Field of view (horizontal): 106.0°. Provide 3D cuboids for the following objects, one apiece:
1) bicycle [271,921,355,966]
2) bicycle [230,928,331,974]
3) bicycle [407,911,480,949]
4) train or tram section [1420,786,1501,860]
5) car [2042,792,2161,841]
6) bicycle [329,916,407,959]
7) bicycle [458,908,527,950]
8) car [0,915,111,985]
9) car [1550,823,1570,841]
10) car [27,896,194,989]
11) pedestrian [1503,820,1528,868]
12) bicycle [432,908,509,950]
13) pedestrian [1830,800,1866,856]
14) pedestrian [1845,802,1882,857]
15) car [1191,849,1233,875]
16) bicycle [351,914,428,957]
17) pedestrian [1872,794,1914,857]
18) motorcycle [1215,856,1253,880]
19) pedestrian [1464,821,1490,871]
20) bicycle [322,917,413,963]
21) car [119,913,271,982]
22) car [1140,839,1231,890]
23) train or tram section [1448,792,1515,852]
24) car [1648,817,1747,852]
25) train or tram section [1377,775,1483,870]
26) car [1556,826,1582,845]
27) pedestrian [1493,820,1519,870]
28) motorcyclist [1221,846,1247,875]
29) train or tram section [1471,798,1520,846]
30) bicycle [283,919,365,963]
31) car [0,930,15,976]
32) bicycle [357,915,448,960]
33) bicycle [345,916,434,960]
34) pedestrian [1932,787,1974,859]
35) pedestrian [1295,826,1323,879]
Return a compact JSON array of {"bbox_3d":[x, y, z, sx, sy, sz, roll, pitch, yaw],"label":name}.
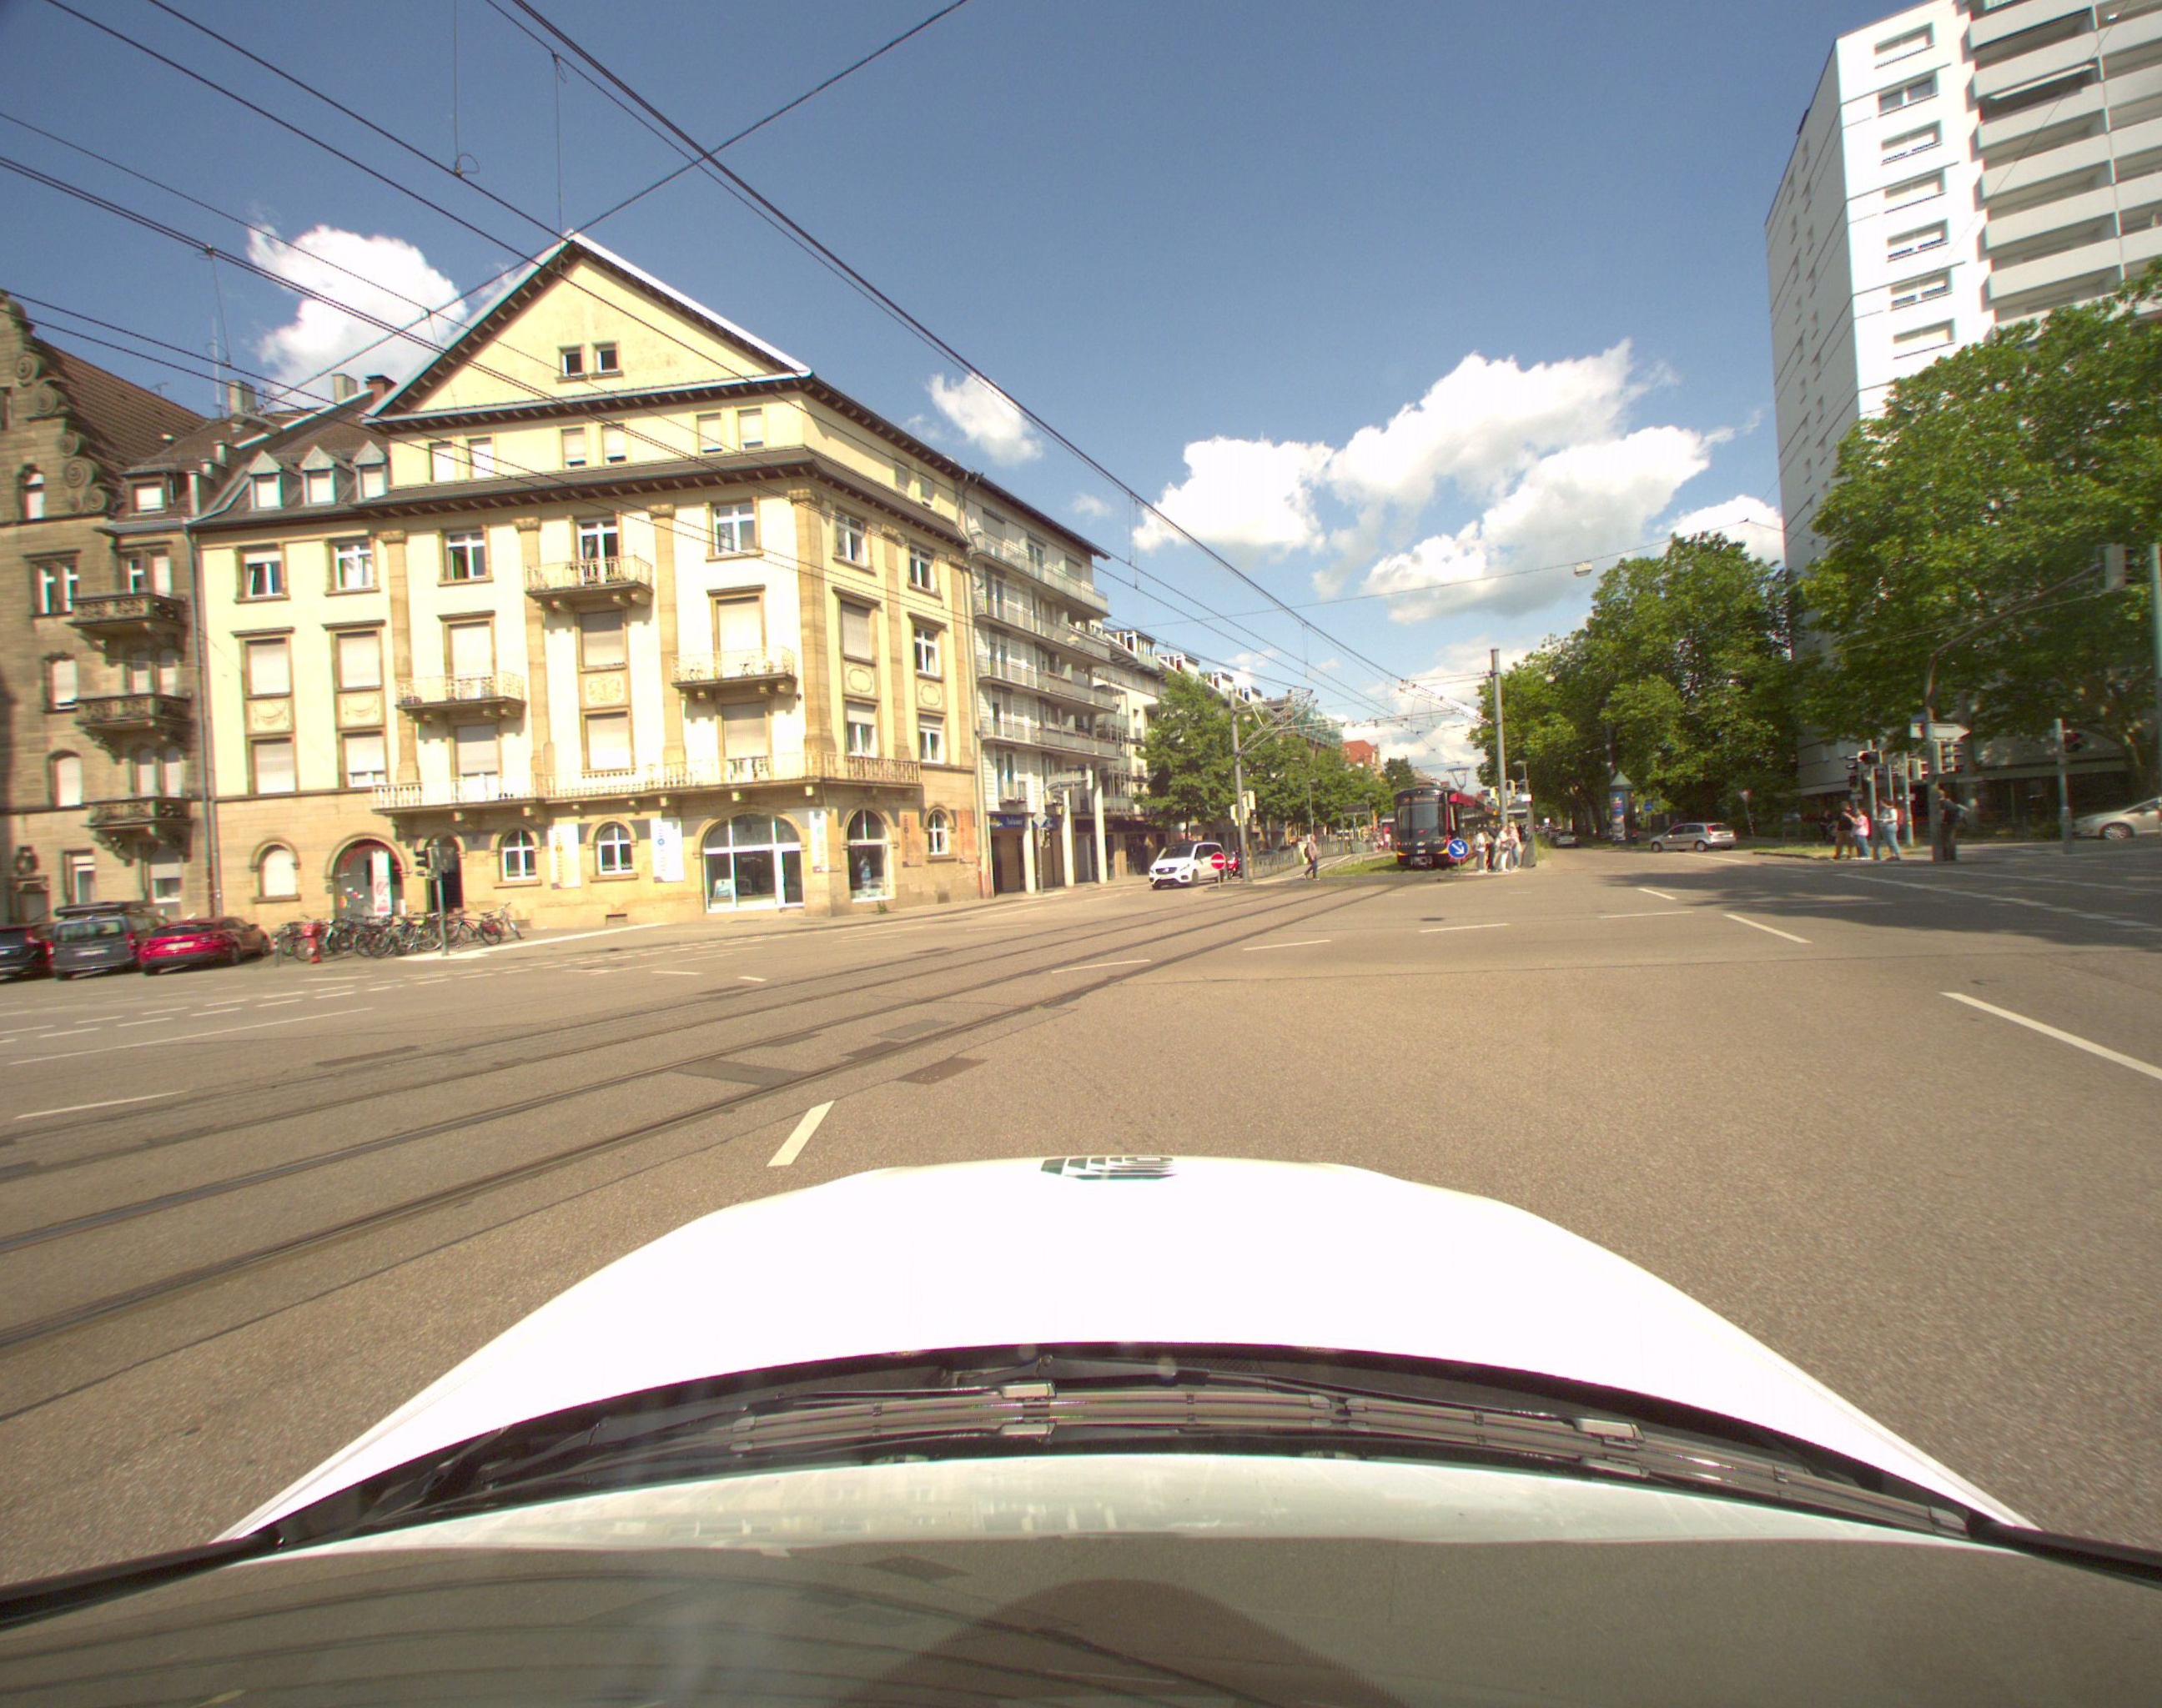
[{"bbox_3d":[-22.763,2.635,24.193,0.537,1.018,1.929,-4,2,0],"label":"bicycle"},{"bbox_3d":[-22.234,2.677,22.658,1.924,1.018,0.538,-5,2,-13],"label":"bicycle"},{"bbox_3d":[-20.162,2.397,25.775,1.912,1.018,0.541,-4,2,7],"label":"bicycle"},{"bbox_3d":[22.053,-1.760,46.878,2.778,3.561,11.254,-4,0,31],"label":"train or tram section"},{"bbox_3d":[36.541,-1.338,28.416,1.871,1.490,3.803,-3,0,-41],"label":"car"},{"bbox_3d":[-22.151,2.575,25.353,0.536,1.018,1.931,-4,2,4],"label":"bicycle"},{"bbox_3d":[-17.970,2.274,24.927,0.606,1.018,1.878,-4,2,2],"label":"bicycle"},{"bbox_3d":[-31.901,2.904,24.842,1.717,1.668,3.960,-5,2,-32],"label":"car"},{"bbox_3d":[58.168,-2.715,98.825,1.974,2.013,4.026,-2,0,31],"label":"car"},{"bbox_3d":[-29.265,2.568,24.757,1.975,2.081,3.960,-5,5,-32],"label":"car"},{"bbox_3d":[15.961,-0.381,29.938,0.663,1.703,0.652,-4,0,32],"label":"pedestrian"},{"bbox_3d":[-18.743,2.296,25.050,0.603,1.018,1.884,-3,2,14],"label":"bicycle"},{"bbox_3d":[23.675,-0.787,25.155,0.507,1.670,0.558,-4,0,8],"label":"pedestrian"},{"bbox_3d":[23.589,-0.736,24.567,0.507,1.597,0.558,-4,0,8],"label":"pedestrian"},{"bbox_3d":[9.804,0.566,60.933,1.829,1.789,4.025,-1,1,28],"label":"car"},{"bbox_3d":[-21.466,2.519,25.336,0.536,1.018,1.931,-4,2,4],"label":"bicycle"},{"bbox_3d":[23.083,-0.813,23.153,0.524,1.735,0.558,-4,0,8],"label":"pedestrian"},{"bbox_3d":[7.864,0.694,41.685,0.885,1.023,3.121,-4,0,30],"label":"motorcycle"},{"bbox_3d":[13.972,-0.292,28.743,0.663,1.703,0.652,-4,0,32],"label":"pedestrian"},{"bbox_3d":[-21.023,2.521,24.059,0.534,1.018,1.938,-3,2,18],"label":"bicycle"},{"bbox_3d":[-26.180,2.686,24.260,1.975,1.441,3.960,-5,2,-32],"label":"car"},{"bbox_3d":[4.648,0.418,35.361,1.974,1.891,5.204,-4,0,30],"label":"car"},{"bbox_3d":[28.140,-2.207,56.878,2.778,3.561,12.235,-4,0,32],"label":"train or tram section"},{"bbox_3d":[30.611,-0.956,40.570,1.732,1.484,3.656,-4,0,-13],"label":"car"},{"bbox_3d":[16.195,-1.393,37.139,2.769,3.561,11.450,-4,0,31],"label":"train or tram section"},{"bbox_3d":[40.194,-1.533,67.058,1.731,1.453,3.629,-4,0,32],"label":"car"},{"bbox_3d":[14.762,-0.315,28.287,0.663,1.703,0.652,-4,0,32],"label":"pedestrian"},{"bbox_3d":[7.847,0.343,41.698,0.885,1.404,1.095,-4,0,30],"label":"motorcyclist"},{"bbox_3d":[33.658,-2.554,65.945,2.739,3.482,8.964,-4,0,31],"label":"train or tram section"},{"bbox_3d":[-23.308,2.656,25.121,0.536,1.018,1.931,-4,2,4],"label":"bicycle"},{"bbox_3d":[-35.396,3.323,25.137,1.926,1.444,3.955,-5,3,-37],"label":"car"},{"bbox_3d":[-19.745,2.421,23.743,0.594,1.018,1.889,-3,2,30],"label":"bicycle"},{"bbox_3d":[-20.426,2.472,24.113,0.534,1.018,1.938,-3,2,18],"label":"bicycle"},{"bbox_3d":[22.947,-0.812,21.436,0.556,1.825,0.479,-4,0,-18],"label":"pedestrian"},{"bbox_3d":[8.949,-0.070,32.004,0.731,2.013,0.708,-4,0,35],"label":"pedestrian"}]
